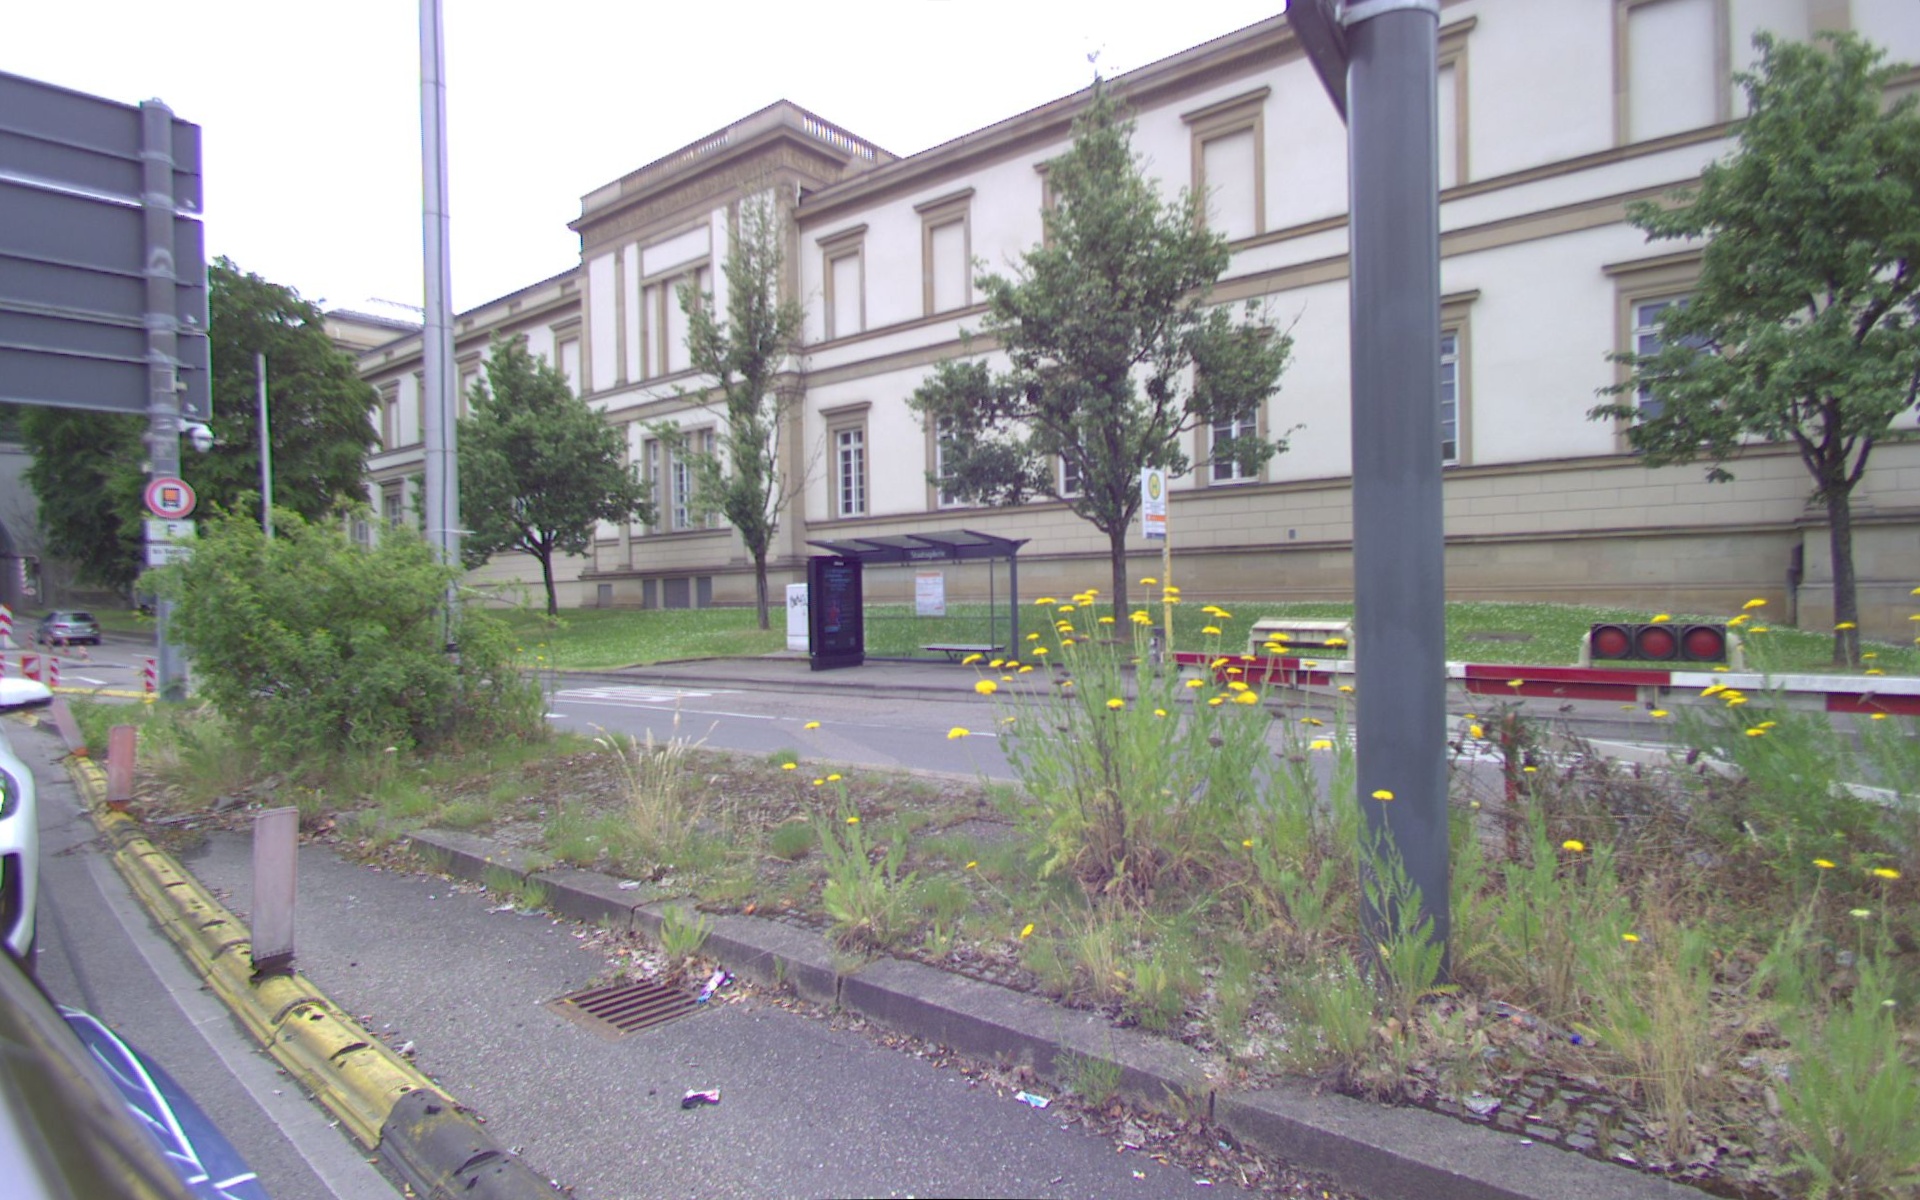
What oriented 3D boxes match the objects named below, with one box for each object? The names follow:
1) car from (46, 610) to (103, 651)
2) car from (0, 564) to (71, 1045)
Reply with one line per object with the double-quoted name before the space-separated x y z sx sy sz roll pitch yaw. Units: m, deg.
"car" -40.540 1.370 46.297 1.810 1.759 4.003 -1 0 -44
"car" -5.167 0.719 4.048 3.668 1.637 1.962 -1 0 41
